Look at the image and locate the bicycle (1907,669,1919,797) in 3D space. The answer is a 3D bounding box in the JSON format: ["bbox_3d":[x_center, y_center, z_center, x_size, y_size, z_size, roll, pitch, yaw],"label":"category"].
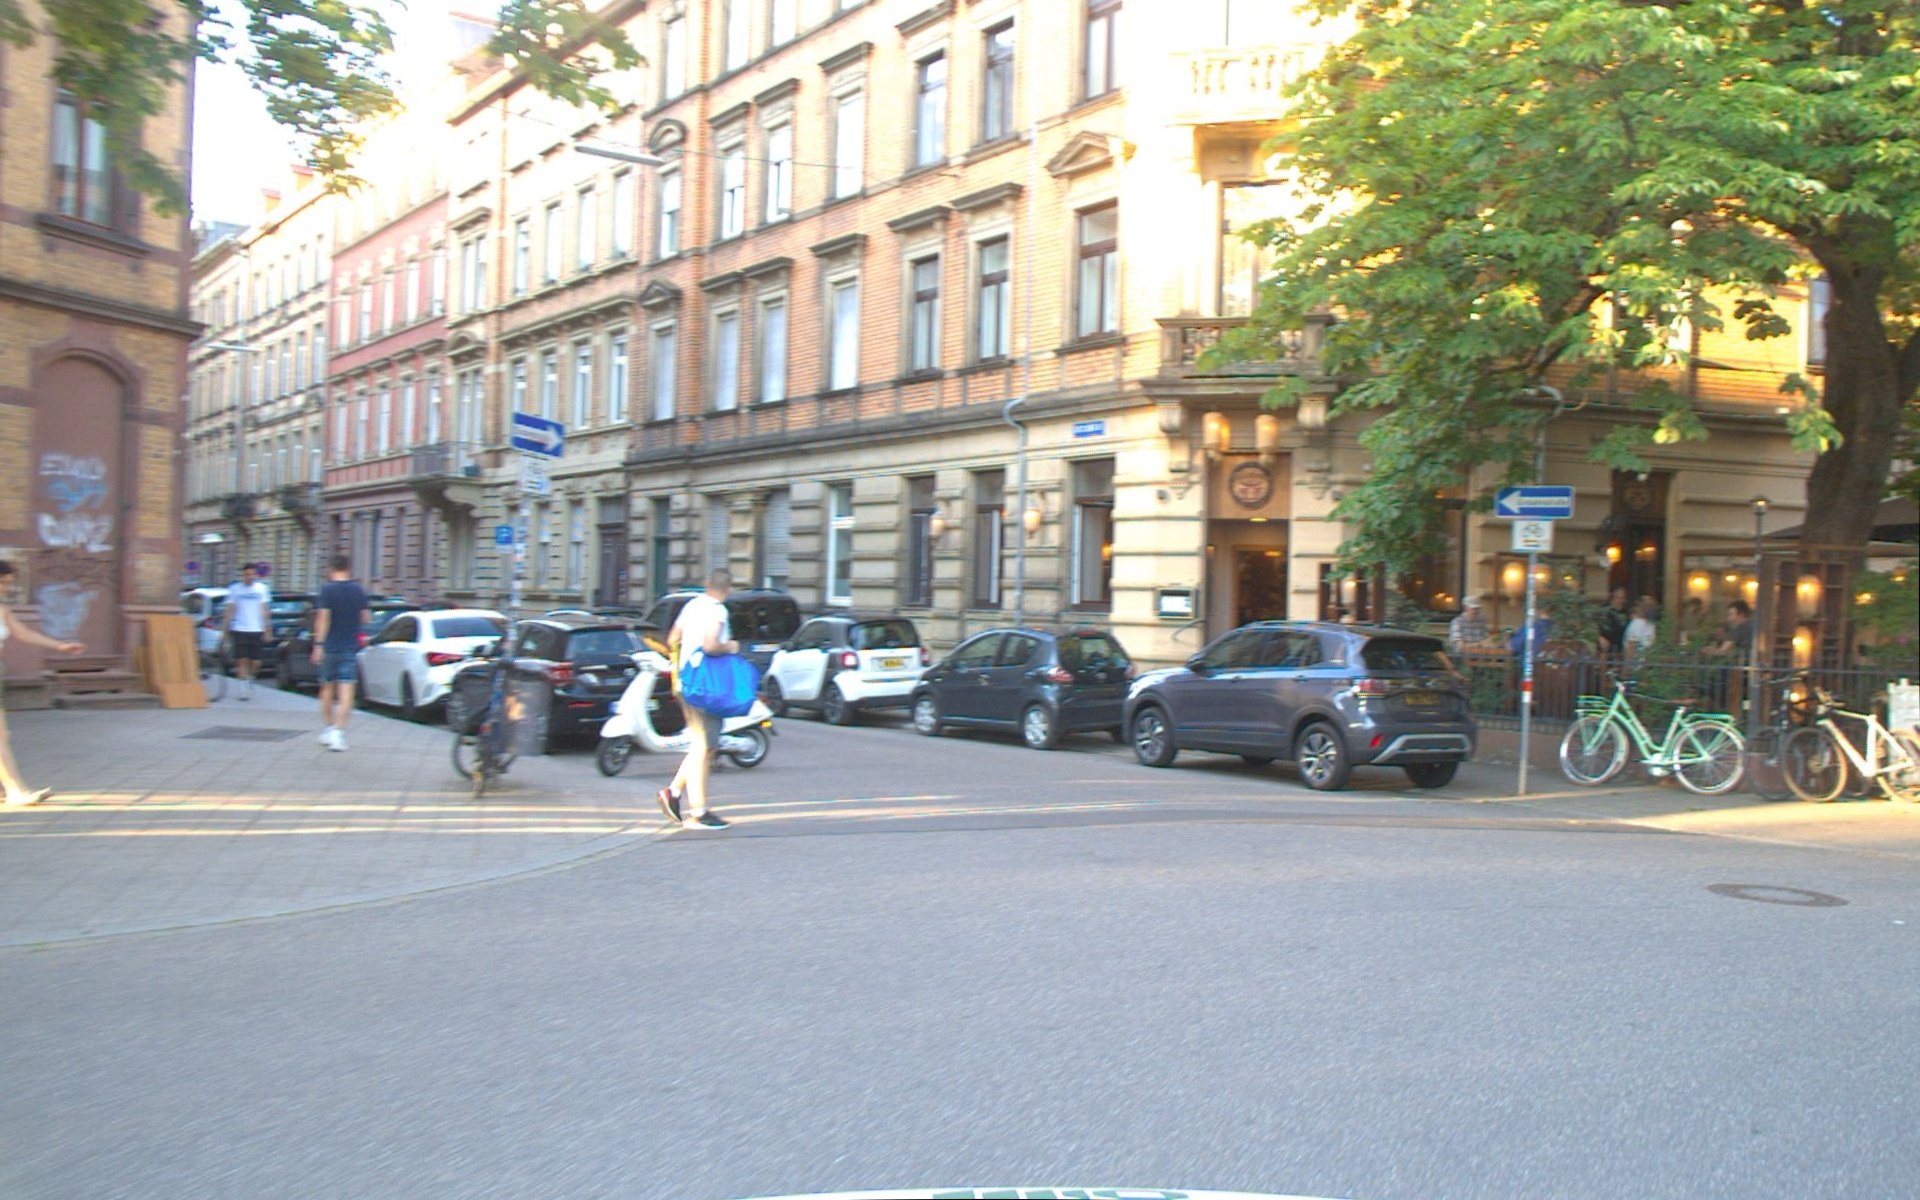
[{"bbox_3d":[10.102,1.310,15.882,1.916,1.206,0.391,2,2,-12],"label":"bicycle"}]

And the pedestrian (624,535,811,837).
[{"bbox_3d":[-1.742,0.601,11.873,0.998,2.049,0.858,2,-2,-35],"label":"pedestrian"}]

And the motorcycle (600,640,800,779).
[{"bbox_3d":[-2.467,1.023,15.745,1.826,1.279,0.470,1,-1,-18],"label":"motorcycle"}]

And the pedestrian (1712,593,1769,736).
[{"bbox_3d":[8.218,0.672,17.422,0.422,1.477,0.460,0,-1,43],"label":"pedestrian"}]

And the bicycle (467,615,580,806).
[{"bbox_3d":[-3.531,0.854,13.500,0.506,1.416,1.799,3,-1,-5],"label":"bicycle"}]

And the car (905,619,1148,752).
[{"bbox_3d":[0.789,1.037,21.380,1.450,1.484,3.293,1,1,-35],"label":"car"}]

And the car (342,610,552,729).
[{"bbox_3d":[-7.229,0.892,23.040,1.561,1.484,4.370,1,0,-35],"label":"car"}]

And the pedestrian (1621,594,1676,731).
[{"bbox_3d":[7.561,0.678,18.170,0.422,1.477,0.460,0,-1,43],"label":"pedestrian"}]

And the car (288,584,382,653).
[{"bbox_3d":[-17.501,0.502,46.257,1.669,1.855,3.445,1,-1,-35],"label":"car"}]

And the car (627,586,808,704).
[{"bbox_3d":[-4.137,0.719,27.859,1.669,1.855,3.445,1,-1,-35],"label":"car"}]

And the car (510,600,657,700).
[{"bbox_3d":[-7.495,0.943,32.778,1.669,1.855,3.445,1,-1,-35],"label":"car"}]

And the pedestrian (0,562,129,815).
[{"bbox_3d":[-6.353,0.588,11.272,1.044,1.659,0.677,3,-2,-42],"label":"pedestrian"}]

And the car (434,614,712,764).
[{"bbox_3d":[-4.511,0.920,18.881,1.767,1.484,3.969,1,0,-35],"label":"car"}]

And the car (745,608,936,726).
[{"bbox_3d":[-1.842,0.949,24.714,1.449,1.622,3.295,1,-1,-33],"label":"car"}]

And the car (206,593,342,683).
[{"bbox_3d":[-13.106,0.674,31.486,1.561,1.599,4.069,1,0,-35],"label":"car"}]

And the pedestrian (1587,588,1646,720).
[{"bbox_3d":[7.832,0.636,19.727,0.515,1.546,0.460,0,-1,44],"label":"pedestrian"}]

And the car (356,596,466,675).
[{"bbox_3d":[-13.645,0.846,41.021,1.669,1.855,3.445,1,-1,-35],"label":"car"}]

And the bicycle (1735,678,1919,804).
[{"bbox_3d":[8.257,1.330,15.741,1.709,1.164,0.391,1,-2,-12],"label":"bicycle"}]

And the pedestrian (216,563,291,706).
[{"bbox_3d":[-9.702,0.466,22.697,0.769,1.855,0.917,5,-1,-26],"label":"pedestrian"}]

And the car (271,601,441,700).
[{"bbox_3d":[-9.911,0.766,26.962,1.561,1.484,4.370,1,0,-35],"label":"car"}]

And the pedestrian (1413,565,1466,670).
[{"bbox_3d":[6.613,0.240,22.817,0.457,1.437,0.519,1,-1,-29],"label":"pedestrian"}]

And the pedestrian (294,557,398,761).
[{"bbox_3d":[-5.860,0.545,15.822,0.674,1.855,0.790,5,-1,-13],"label":"pedestrian"}]

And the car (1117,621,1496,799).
[{"bbox_3d":[3.454,1.027,17.083,1.613,1.572,3.812,1,0,-34],"label":"car"}]

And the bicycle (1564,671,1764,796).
[{"bbox_3d":[6.960,1.297,16.408,1.793,1.117,0.391,0,-1,37],"label":"bicycle"}]
